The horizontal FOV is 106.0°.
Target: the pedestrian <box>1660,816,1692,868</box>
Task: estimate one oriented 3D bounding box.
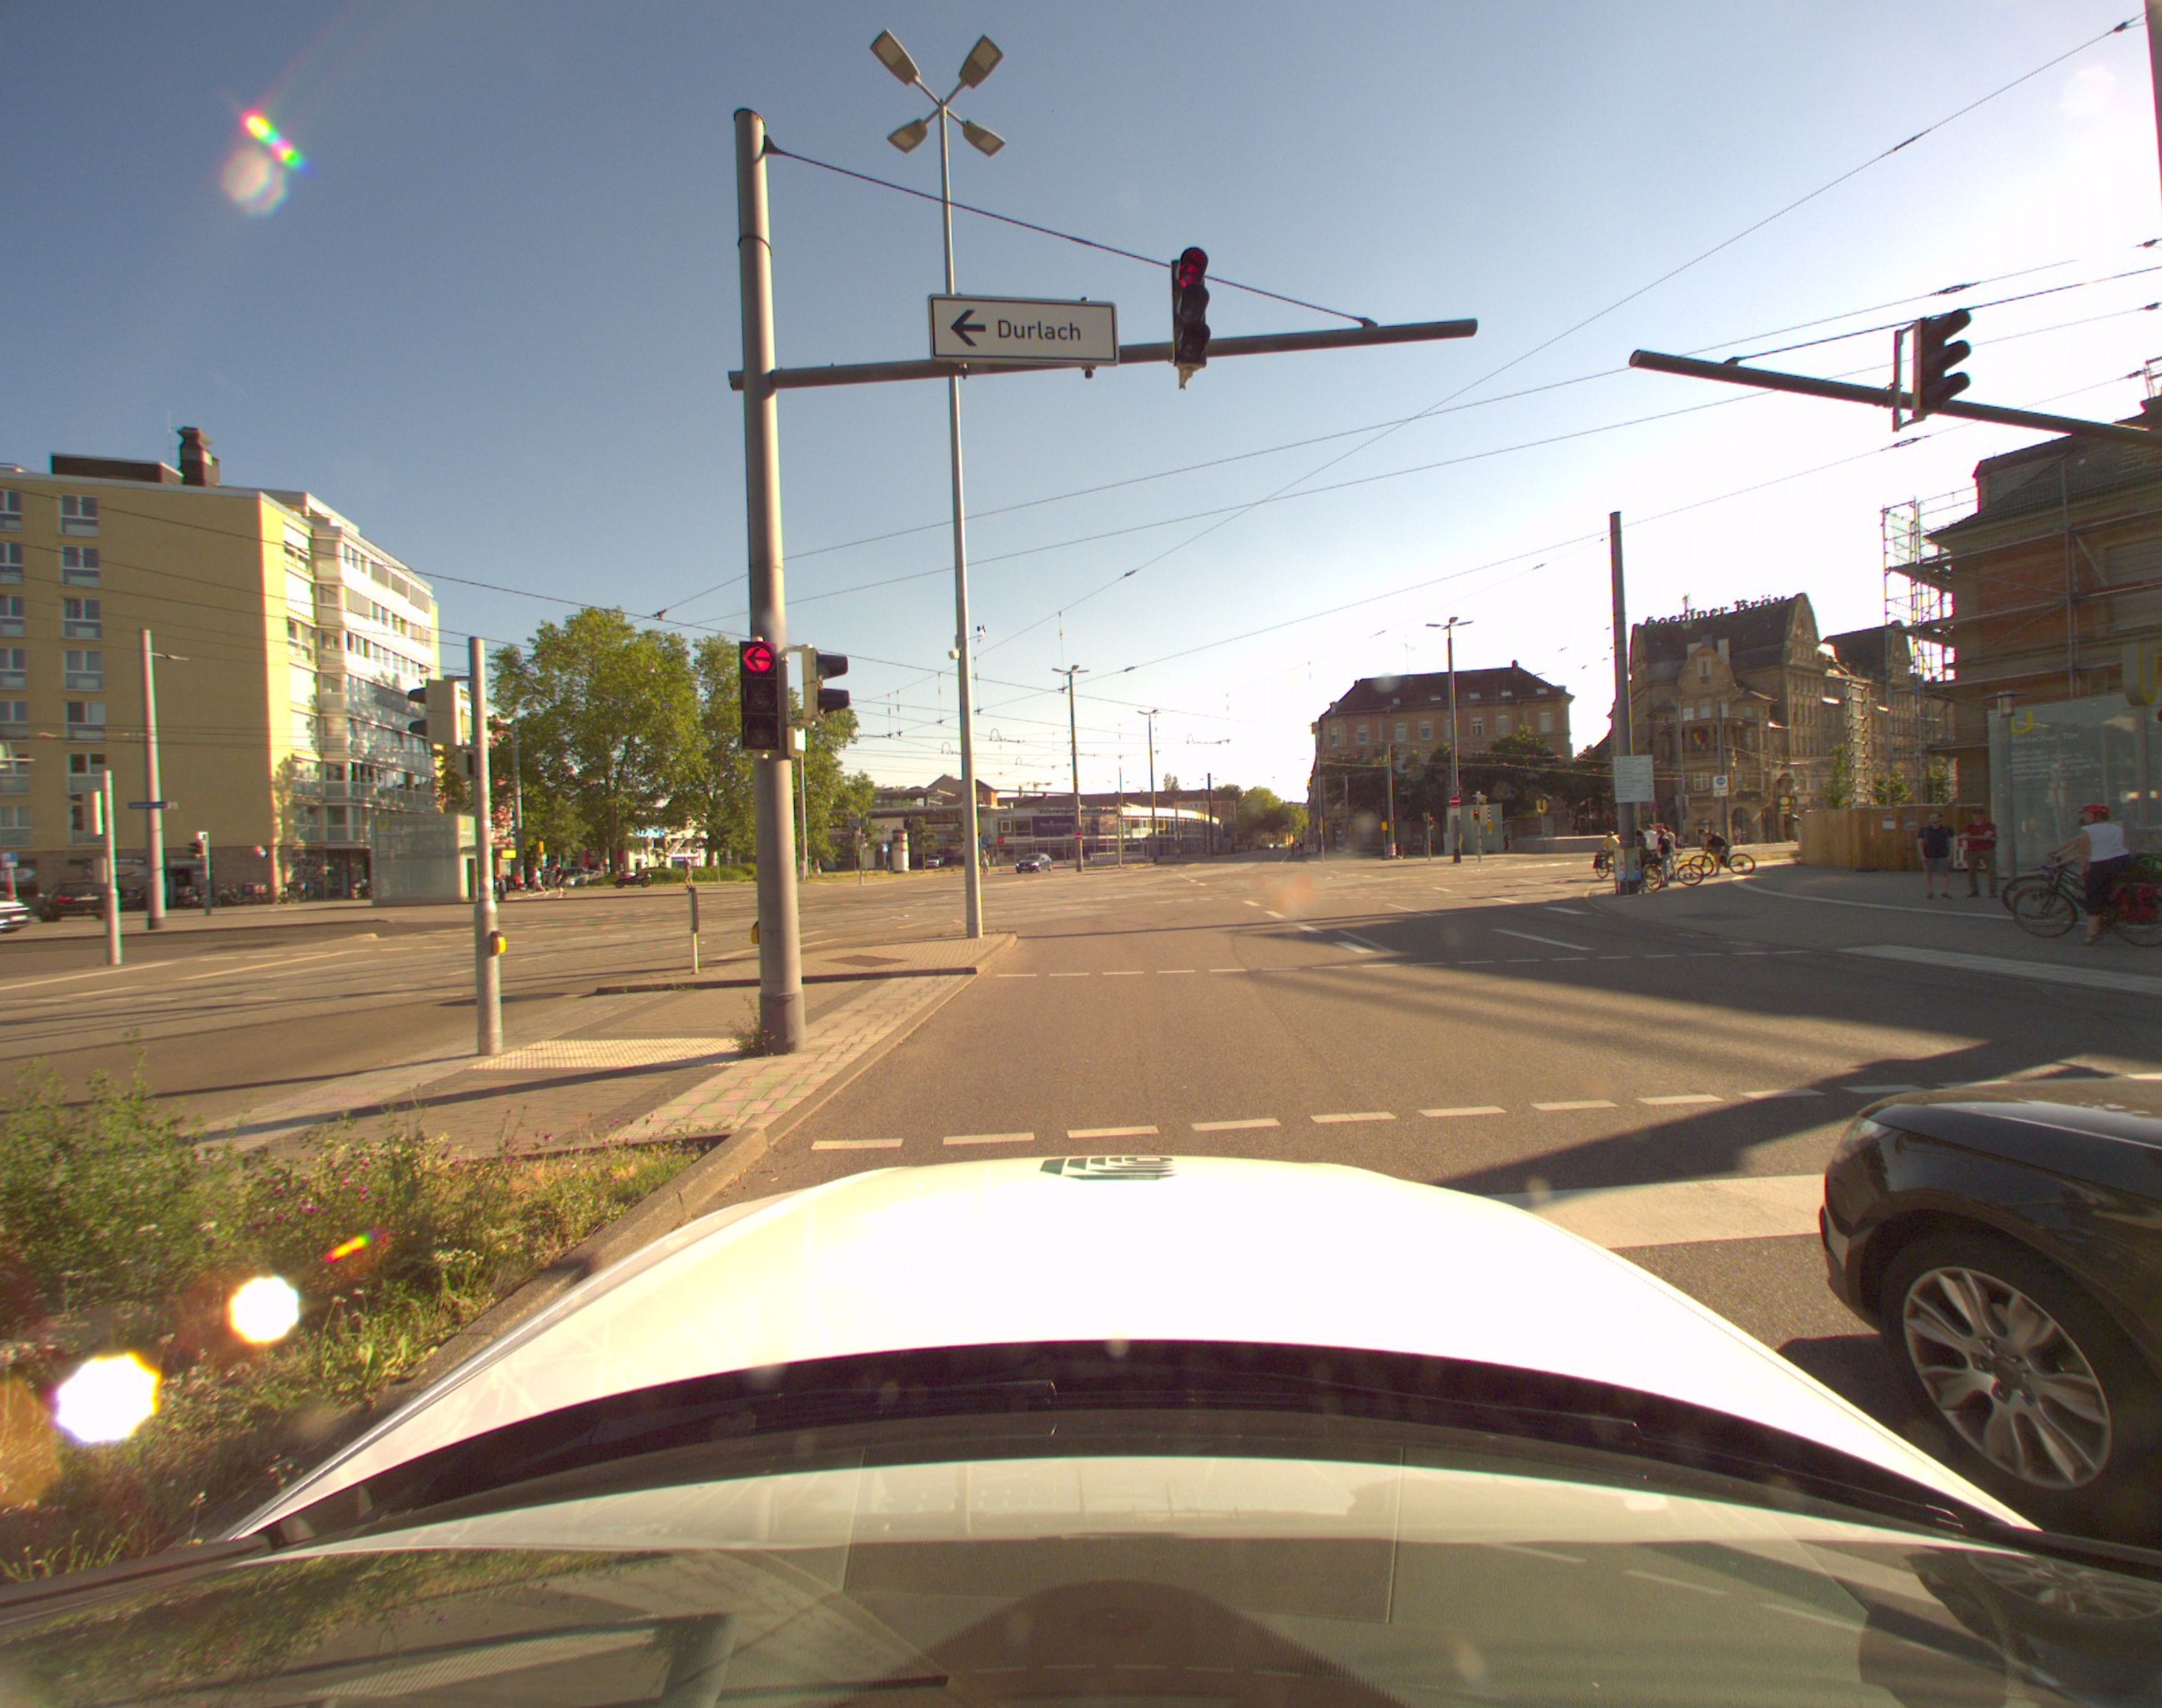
[{"bbox_3d":[22.230,-0.428,30.447,0.646,1.922,0.689,0,-1,-6],"label":"pedestrian"}]

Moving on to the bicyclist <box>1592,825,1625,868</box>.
[{"bbox_3d":[19.207,-0.275,29.683,0.514,1.557,0.945,0,-1,-6],"label":"bicyclist"}]

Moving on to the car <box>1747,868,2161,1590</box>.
[{"bbox_3d":[2.902,0.734,0.615,1.617,1.404,4.001,0,0,2],"label":"car"}]

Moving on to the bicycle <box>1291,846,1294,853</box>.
[{"bbox_3d":[27.195,-0.576,104.758,0.407,0.941,1.852,-1,-1,15],"label":"bicycle"}]

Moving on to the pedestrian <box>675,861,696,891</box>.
[{"bbox_3d":[-22.876,1.283,47.163,0.790,1.706,0.760,-1,-1,9],"label":"pedestrian"}]

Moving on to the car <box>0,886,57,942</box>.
[{"bbox_3d":[-35.171,1.889,25.162,4.005,1.662,1.772,0,-1,-24],"label":"car"}]

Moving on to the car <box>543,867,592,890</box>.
[{"bbox_3d":[-37.303,1.721,59.249,1.772,1.567,3.983,0,-1,-12],"label":"car"}]

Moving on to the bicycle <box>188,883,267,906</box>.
[{"bbox_3d":[-46.332,2.202,44.264,3.041,1.151,0.637,0,-1,-16],"label":"bicycle"}]

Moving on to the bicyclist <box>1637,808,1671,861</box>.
[{"bbox_3d":[16.066,-0.523,22.850,0.701,1.439,0.953,-1,-1,30],"label":"bicyclist"}]

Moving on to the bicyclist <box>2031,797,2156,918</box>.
[{"bbox_3d":[13.479,0.049,10.869,0.664,1.553,0.794,0,-1,-3],"label":"bicyclist"}]

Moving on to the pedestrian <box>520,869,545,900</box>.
[{"bbox_3d":[-29.731,1.649,44.167,0.790,1.706,0.760,-1,-1,9],"label":"pedestrian"}]

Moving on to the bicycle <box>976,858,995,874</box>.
[{"bbox_3d":[-7.045,0.857,59.963,0.607,1.189,1.878,-1,-1,19],"label":"bicycle"}]

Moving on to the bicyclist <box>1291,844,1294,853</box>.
[{"bbox_3d":[27.167,-0.668,104.666,0.405,1.116,0.400,-1,-1,13],"label":"bicyclist"}]

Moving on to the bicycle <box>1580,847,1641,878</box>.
[{"bbox_3d":[19.219,0.294,29.626,0.533,1.049,2.315,0,1,-6],"label":"bicycle"}]

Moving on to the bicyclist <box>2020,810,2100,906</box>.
[{"bbox_3d":[15.390,0.065,12.810,0.619,1.454,0.667,0,-1,-27],"label":"bicyclist"}]

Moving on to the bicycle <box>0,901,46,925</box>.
[{"bbox_3d":[-54.488,2.985,41.050,3.041,1.151,0.637,0,-1,-16],"label":"bicycle"}]

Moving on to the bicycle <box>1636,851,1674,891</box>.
[{"bbox_3d":[16.039,0.444,22.795,0.692,1.049,2.335,0,1,31],"label":"bicycle"}]

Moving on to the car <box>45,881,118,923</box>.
[{"bbox_3d":[-44.265,2.075,36.043,3.948,1.706,1.730,-1,-1,35],"label":"car"}]

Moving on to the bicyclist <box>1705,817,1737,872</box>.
[{"bbox_3d":[21.039,-0.310,26.767,0.785,1.779,0.526,-1,-1,37],"label":"bicyclist"}]

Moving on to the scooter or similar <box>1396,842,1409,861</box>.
[{"bbox_3d":[24.758,-0.179,62.783,0.780,1.376,1.916,-1,-1,16],"label":"scooter or similar"}]

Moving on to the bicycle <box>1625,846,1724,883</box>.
[{"bbox_3d":[17.285,0.316,23.787,2.290,1.049,0.705,-1,-1,32],"label":"bicycle"}]

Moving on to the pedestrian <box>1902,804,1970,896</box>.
[{"bbox_3d":[17.341,-0.085,16.524,0.672,1.807,0.680,-3,0,-19],"label":"pedestrian"}]

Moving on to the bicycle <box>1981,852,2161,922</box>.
[{"bbox_3d":[15.504,0.480,12.590,0.661,0.963,2.018,-4,1,-25],"label":"bicycle"}]

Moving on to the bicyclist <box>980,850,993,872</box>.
[{"bbox_3d":[-6.977,0.511,60.185,0.593,1.615,0.827,-1,-1,19],"label":"bicyclist"}]

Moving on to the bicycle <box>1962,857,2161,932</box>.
[{"bbox_3d":[14.451,0.548,11.980,0.657,0.963,2.033,-4,0,-3],"label":"bicycle"}]

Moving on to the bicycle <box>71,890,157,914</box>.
[{"bbox_3d":[-50.359,2.475,42.430,3.041,1.151,0.637,0,-1,-16],"label":"bicycle"}]

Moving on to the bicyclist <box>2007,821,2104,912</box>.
[{"bbox_3d":[14.432,0.178,12.078,0.614,1.315,0.673,0,-1,-3],"label":"bicyclist"}]

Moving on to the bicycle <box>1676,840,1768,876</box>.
[{"bbox_3d":[21.024,0.140,26.780,2.290,1.049,0.539,-5,-1,36],"label":"bicycle"}]

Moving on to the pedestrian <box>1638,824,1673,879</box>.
[{"bbox_3d":[21.345,-0.102,30.252,0.730,2.014,0.760,0,-1,-6],"label":"pedestrian"}]

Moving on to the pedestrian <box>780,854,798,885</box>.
[{"bbox_3d":[-18.377,0.967,51.208,0.790,1.886,0.760,-1,-1,9],"label":"pedestrian"}]

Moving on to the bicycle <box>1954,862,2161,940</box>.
[{"bbox_3d":[13.453,0.602,11.195,0.656,0.963,2.033,0,-1,-3],"label":"bicycle"}]

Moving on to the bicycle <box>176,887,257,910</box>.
[{"bbox_3d":[-46.236,2.366,43.592,3.041,1.151,0.637,0,-1,-16],"label":"bicycle"}]

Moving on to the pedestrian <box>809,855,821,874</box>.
[{"bbox_3d":[-23.614,0.949,72.283,0.854,1.694,0.497,0,-1,-1],"label":"pedestrian"}]

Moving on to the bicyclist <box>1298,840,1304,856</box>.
[{"bbox_3d":[24.136,-0.664,89.200,0.516,1.700,0.517,0,-1,4],"label":"bicyclist"}]

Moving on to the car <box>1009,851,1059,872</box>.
[{"bbox_3d":[-3.520,0.564,61.951,1.975,1.585,4.024,-1,-1,29],"label":"car"}]

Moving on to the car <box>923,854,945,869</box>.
[{"bbox_3d":[-18.004,0.943,99.742,1.988,1.750,3.997,0,-1,-1],"label":"car"}]

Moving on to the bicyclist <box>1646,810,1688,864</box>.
[{"bbox_3d":[17.160,-0.484,23.871,0.935,1.557,0.715,-1,-1,32],"label":"bicyclist"}]

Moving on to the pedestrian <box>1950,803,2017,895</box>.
[{"bbox_3d":[18.166,-0.092,16.403,0.672,1.807,0.680,0,-1,-19],"label":"pedestrian"}]

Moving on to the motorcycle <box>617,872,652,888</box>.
[{"bbox_3d":[-27.261,1.578,49.766,1.779,0.914,0.675,0,-1,-19],"label":"motorcycle"}]

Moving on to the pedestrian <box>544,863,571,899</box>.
[{"bbox_3d":[-25.734,1.322,40.046,0.790,1.706,0.760,-1,-1,9],"label":"pedestrian"}]

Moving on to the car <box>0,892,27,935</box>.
[{"bbox_3d":[-47.064,2.546,34.953,3.948,1.706,2.013,-1,-1,35],"label":"car"}]

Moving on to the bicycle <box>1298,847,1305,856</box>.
[{"bbox_3d":[24.129,-0.298,89.183,0.652,0.952,1.607,-1,-1,17],"label":"bicycle"}]
